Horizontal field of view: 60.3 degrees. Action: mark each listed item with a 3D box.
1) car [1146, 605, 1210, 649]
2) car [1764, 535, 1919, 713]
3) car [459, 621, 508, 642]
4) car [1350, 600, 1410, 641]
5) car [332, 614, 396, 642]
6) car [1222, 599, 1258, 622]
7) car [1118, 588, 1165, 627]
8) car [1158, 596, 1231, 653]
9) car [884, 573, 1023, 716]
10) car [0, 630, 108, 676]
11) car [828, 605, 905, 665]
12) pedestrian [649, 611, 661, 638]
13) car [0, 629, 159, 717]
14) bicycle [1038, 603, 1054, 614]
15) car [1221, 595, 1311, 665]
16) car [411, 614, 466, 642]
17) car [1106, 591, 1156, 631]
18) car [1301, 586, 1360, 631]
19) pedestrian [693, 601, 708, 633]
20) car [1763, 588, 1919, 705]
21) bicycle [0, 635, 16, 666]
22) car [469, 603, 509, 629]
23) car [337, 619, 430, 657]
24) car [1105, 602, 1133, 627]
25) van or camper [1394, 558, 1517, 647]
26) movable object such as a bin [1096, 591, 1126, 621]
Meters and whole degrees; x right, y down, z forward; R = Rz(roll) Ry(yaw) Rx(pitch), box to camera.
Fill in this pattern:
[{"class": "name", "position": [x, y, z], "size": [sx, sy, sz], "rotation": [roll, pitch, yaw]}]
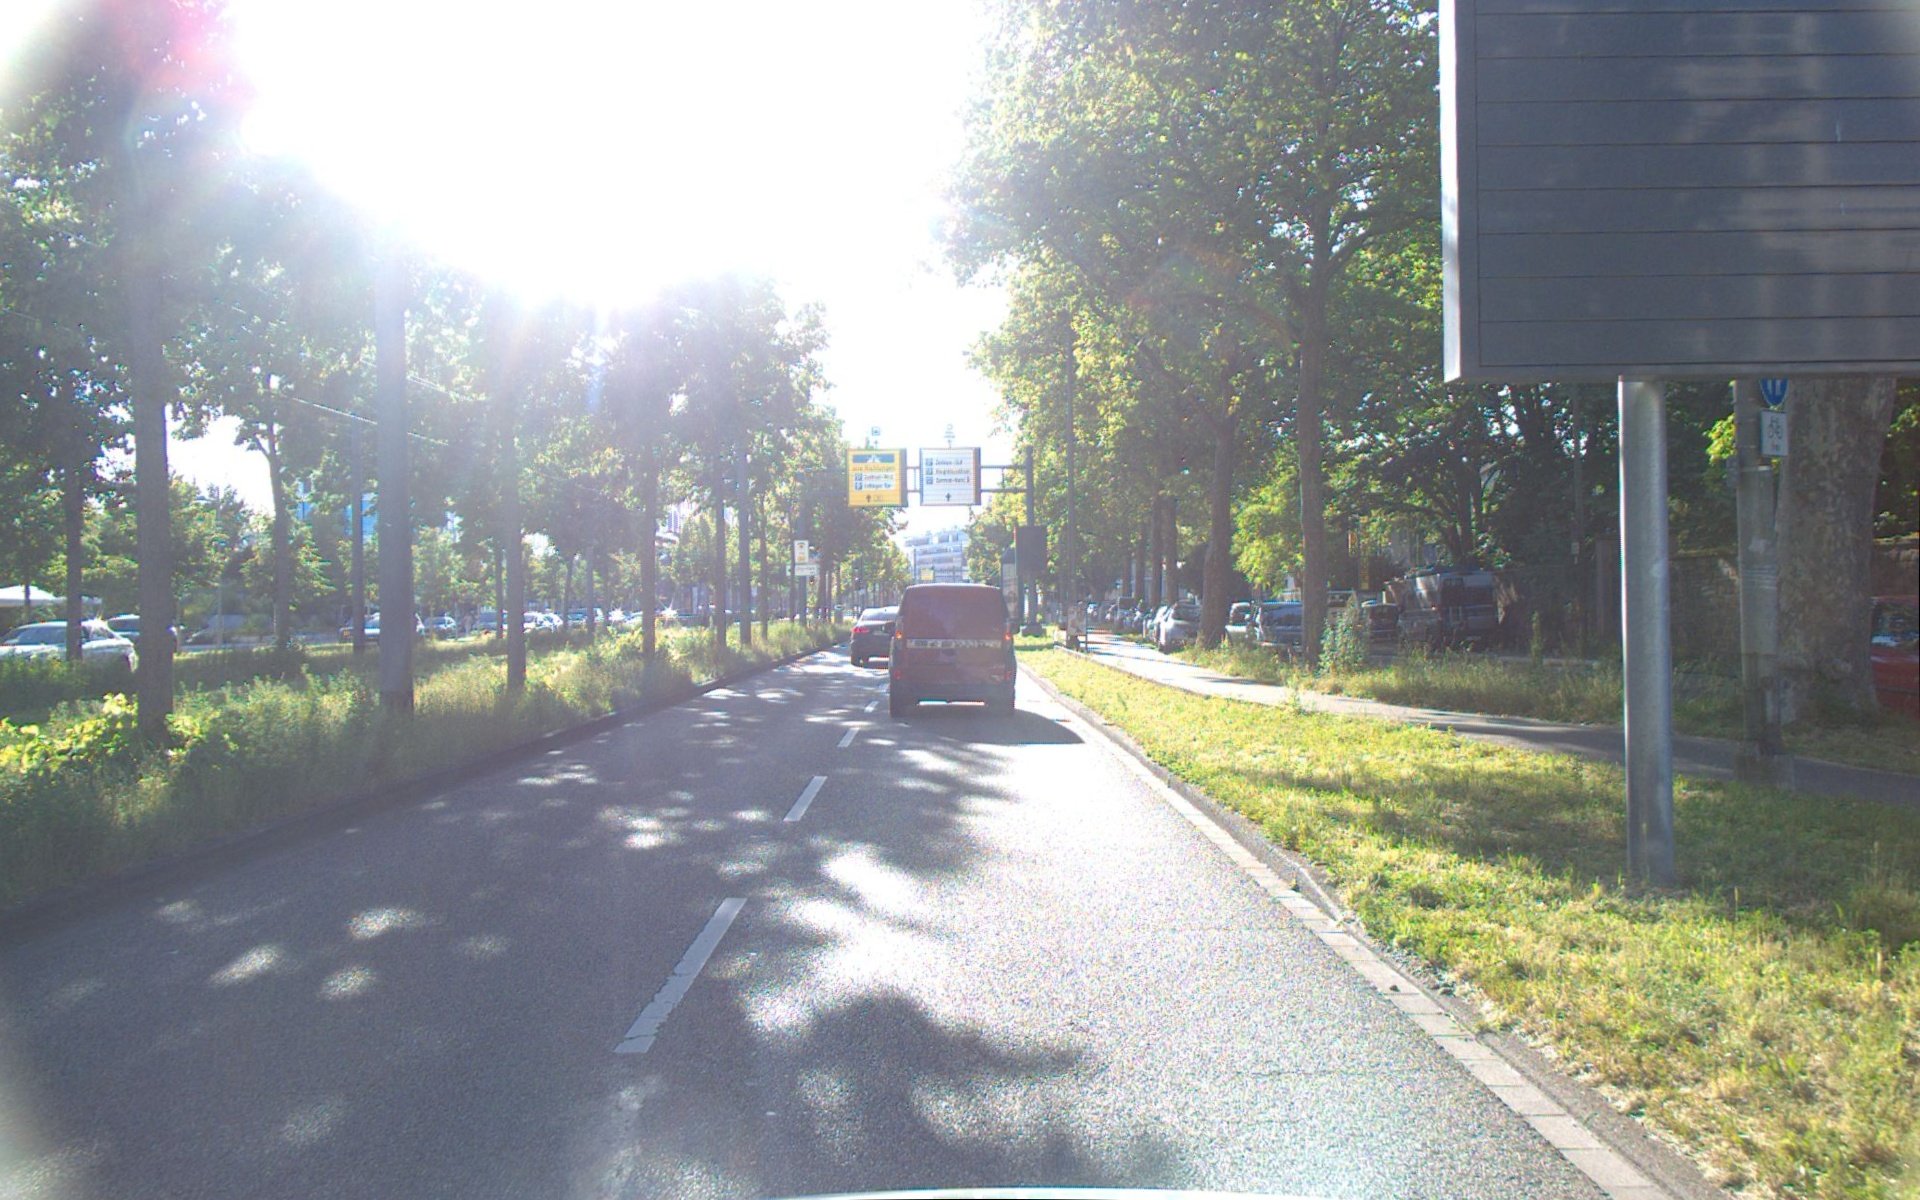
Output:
[{"class": "car", "position": [7.523, 0.939, 57.353], "size": [1.756, 1.463, 3.884], "rotation": [1, -1, 1]}, {"class": "car", "position": [9.899, 0.238, 15.885], "size": [1.957, 1.669, 3.990], "rotation": [1, -1, -10]}, {"class": "car", "position": [-31.993, 2.099, 111.226], "size": [1.873, 1.348, 4.611], "rotation": [1, -1, 1]}, {"class": "car", "position": [16.771, 0.810, 66.216], "size": [1.655, 1.498, 3.760], "rotation": [-3, -1, 5]}, {"class": "car", "position": [-31.593, 1.473, 87.812], "size": [1.841, 1.460, 4.609], "rotation": [1, -1, -1]}, {"class": "car", "position": [20.145, 0.769, 119.232], "size": [1.952, 1.669, 4.000], "rotation": [1, -1, 1]}, {"class": "car", "position": [8.211, 0.353, 74.915], "size": [1.701, 1.671, 4.353], "rotation": [1, -1, 1]}, {"class": "car", "position": [7.042, 0.738, 50.087], "size": [1.756, 1.587, 4.021], "rotation": [2, -1, 3]}, {"class": "car", "position": [-0.173, 0.611, 23.765], "size": [1.772, 1.870, 3.997], "rotation": [1, -1, -3]}, {"class": "car", "position": [-30.913, 1.765, 55.990], "size": [1.918, 1.466, 4.265], "rotation": [1, -1, 0]}, {"class": "car", "position": [-2.372, 0.876, 42.679], "size": [1.755, 1.453, 3.999], "rotation": [1, -1, 0]}, {"class": "pedestrian", "position": [-17.528, 1.404, 95.073], "size": [0.538, 1.545, 0.589], "rotation": [1, -1, 4]}, {"class": "car", "position": [-19.647, 1.519, 36.009], "size": [1.953, 1.715, 5.109], "rotation": [1, -1, -1]}, {"class": "bicycle", "position": [9.678, 0.944, 185.338], "size": [1.742, 1.290, 0.479], "rotation": [1, -1, 0]}, {"class": "car", "position": [7.805, 0.758, 42.507], "size": [1.755, 1.663, 4.629], "rotation": [1, -1, 4]}, {"class": "car", "position": [-32.015, 1.701, 101.669], "size": [1.840, 1.649, 4.611], "rotation": [1, -1, 1]}, {"class": "car", "position": [9.061, 0.598, 88.080], "size": [2.145, 2.049, 5.820], "rotation": [1, -1, 1]}, {"class": "car", "position": [17.781, 0.414, 79.596], "size": [2.043, 2.049, 4.945], "rotation": [0, 0, 4]}, {"class": "pedestrian", "position": [-15.261, 0.993, 97.320], "size": [0.804, 1.868, 0.726], "rotation": [1, -1, -3]}, {"class": "car", "position": [14.974, 0.696, 26.353], "size": [1.807, 1.646, 3.989], "rotation": [-4, 0, -11]}, {"class": "bicycle", "position": [-38.161, 1.981, 65.088], "size": [0.718, 1.219, 2.240], "rotation": [1, -1, -1]}, {"class": "car", "position": [-39.046, 1.341, 137.139], "size": [1.952, 2.049, 4.563], "rotation": [1, -1, 1]}, {"class": "car", "position": [-23.142, 1.506, 66.610], "size": [1.952, 1.466, 4.703], "rotation": [1, -1, 2]}, {"class": "car", "position": [10.140, 0.949, 105.802], "size": [1.627, 1.527, 2.990], "rotation": [1, -1, 2]}, {"class": "van or camper", "position": [16.660, 0.068, 56.051], "size": [2.503, 2.731, 6.568], "rotation": [-3, 0, 4]}, {"class": "movable object such as a bin", "position": [10.606, 0.417, 116.110], "size": [2.038, 2.049, 2.137], "rotation": [1, -1, 3]}]
